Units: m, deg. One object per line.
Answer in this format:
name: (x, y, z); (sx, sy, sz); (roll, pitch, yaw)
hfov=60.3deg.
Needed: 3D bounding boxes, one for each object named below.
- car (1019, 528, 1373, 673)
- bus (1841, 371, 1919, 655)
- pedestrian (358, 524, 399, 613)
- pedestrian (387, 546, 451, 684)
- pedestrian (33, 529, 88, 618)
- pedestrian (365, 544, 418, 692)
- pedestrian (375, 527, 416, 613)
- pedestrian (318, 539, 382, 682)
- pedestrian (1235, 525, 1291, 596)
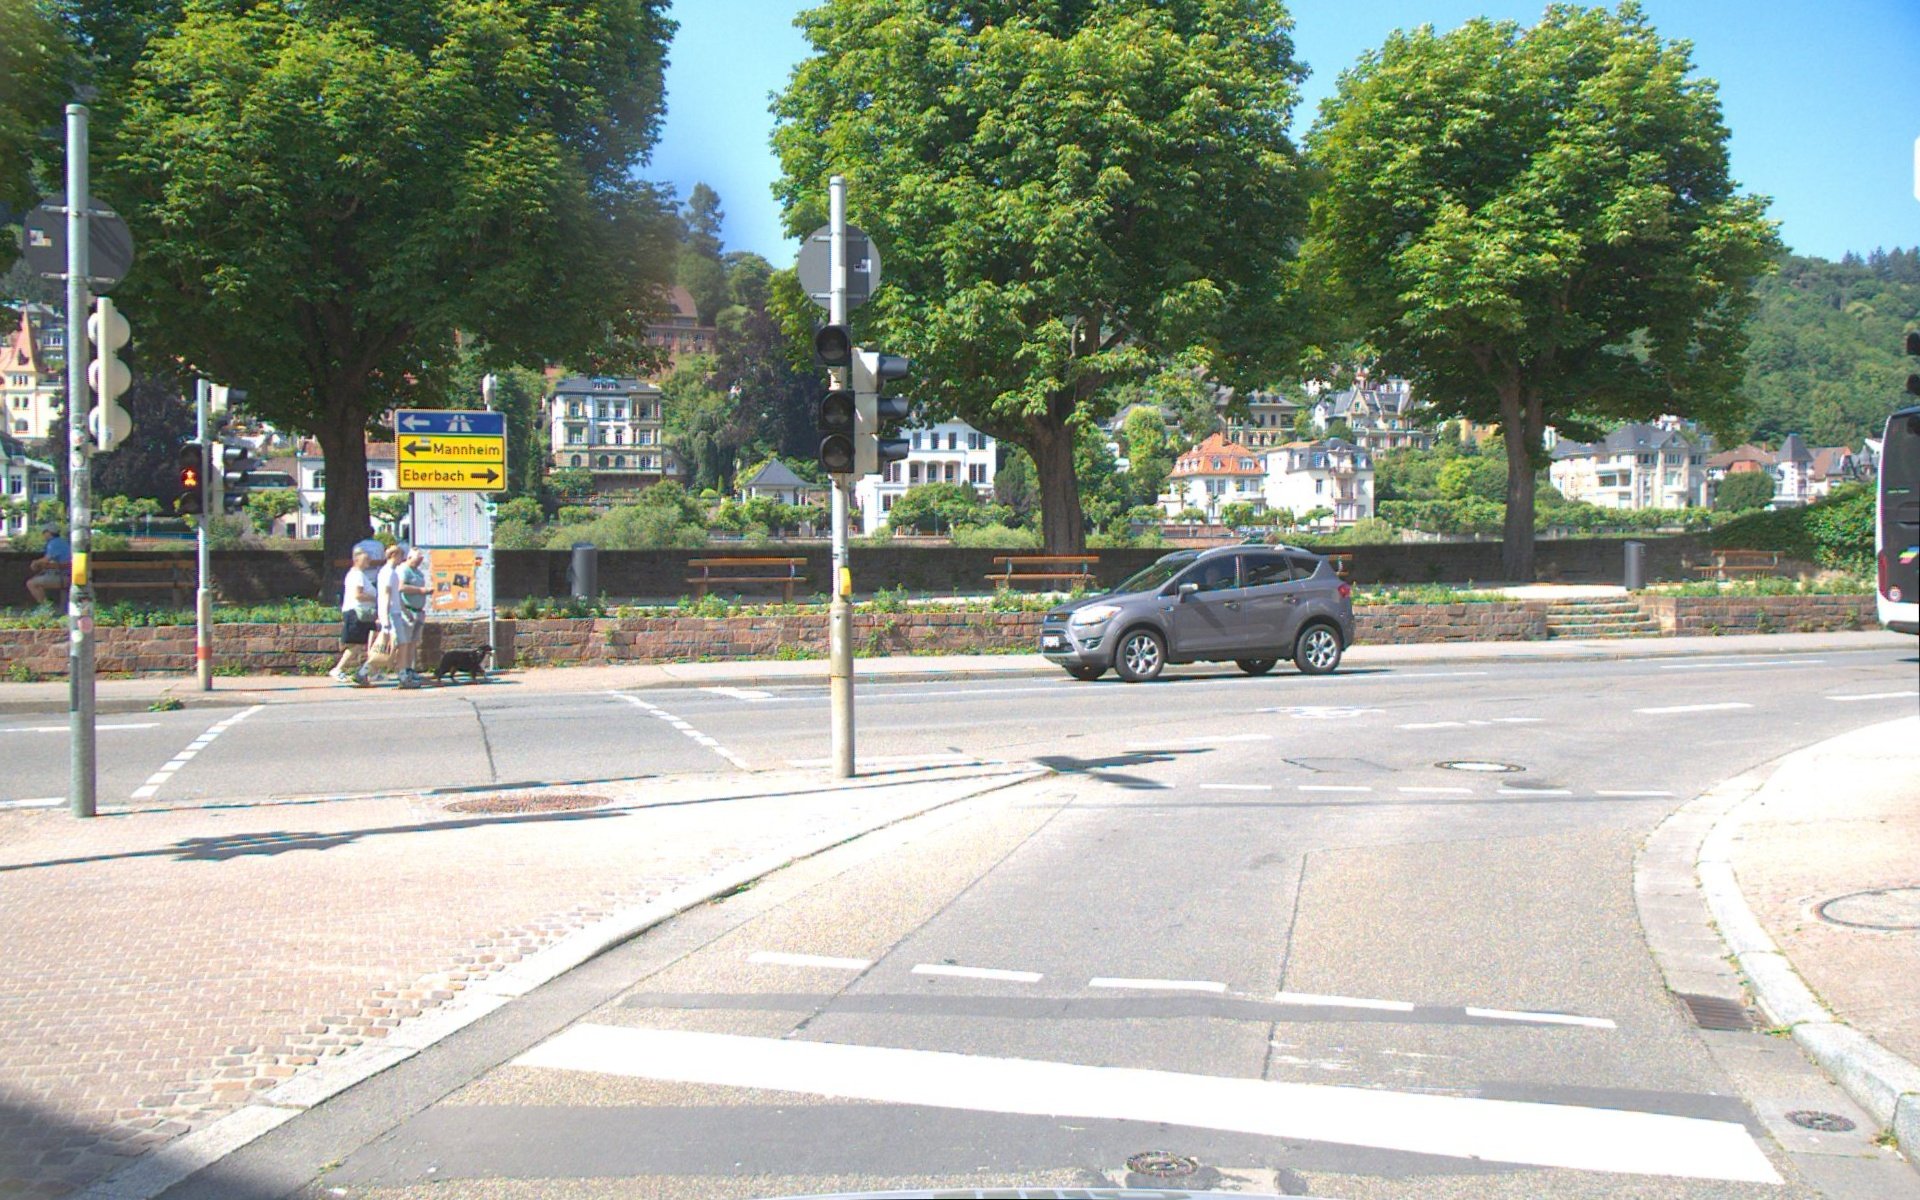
car: (3.129, 0.049, 21.992); (4.334, 1.784, 1.831); (0, -3, -22)
bus: (18.638, -1.261, 24.434); (11.968, 3.854, 2.888); (-1, 0, -22)
pedestrian: (-8.821, -0.467, 25.096); (0.544, 1.302, 0.700); (2, -3, -19)
pedestrian: (-7.241, 0.193, 22.133); (0.679, 1.800, 0.711); (-2, 0, -26)
pedestrian: (-12.769, -0.380, 23.477); (0.635, 1.249, 0.409); (-1, 0, -33)
pedestrian: (-7.223, 0.219, 21.038); (0.569, 1.833, 0.702); (-1, 0, -17)
pedestrian: (-8.647, -0.442, 25.347); (0.544, 1.250, 0.980); (2, -3, -19)
pedestrian: (-8.027, 0.133, 21.762); (0.712, 1.833, 0.629); (-2, 0, -23)
pedestrian: (5.607, -0.724, 30.653); (0.785, 1.232, 0.712); (1, -3, -16)
